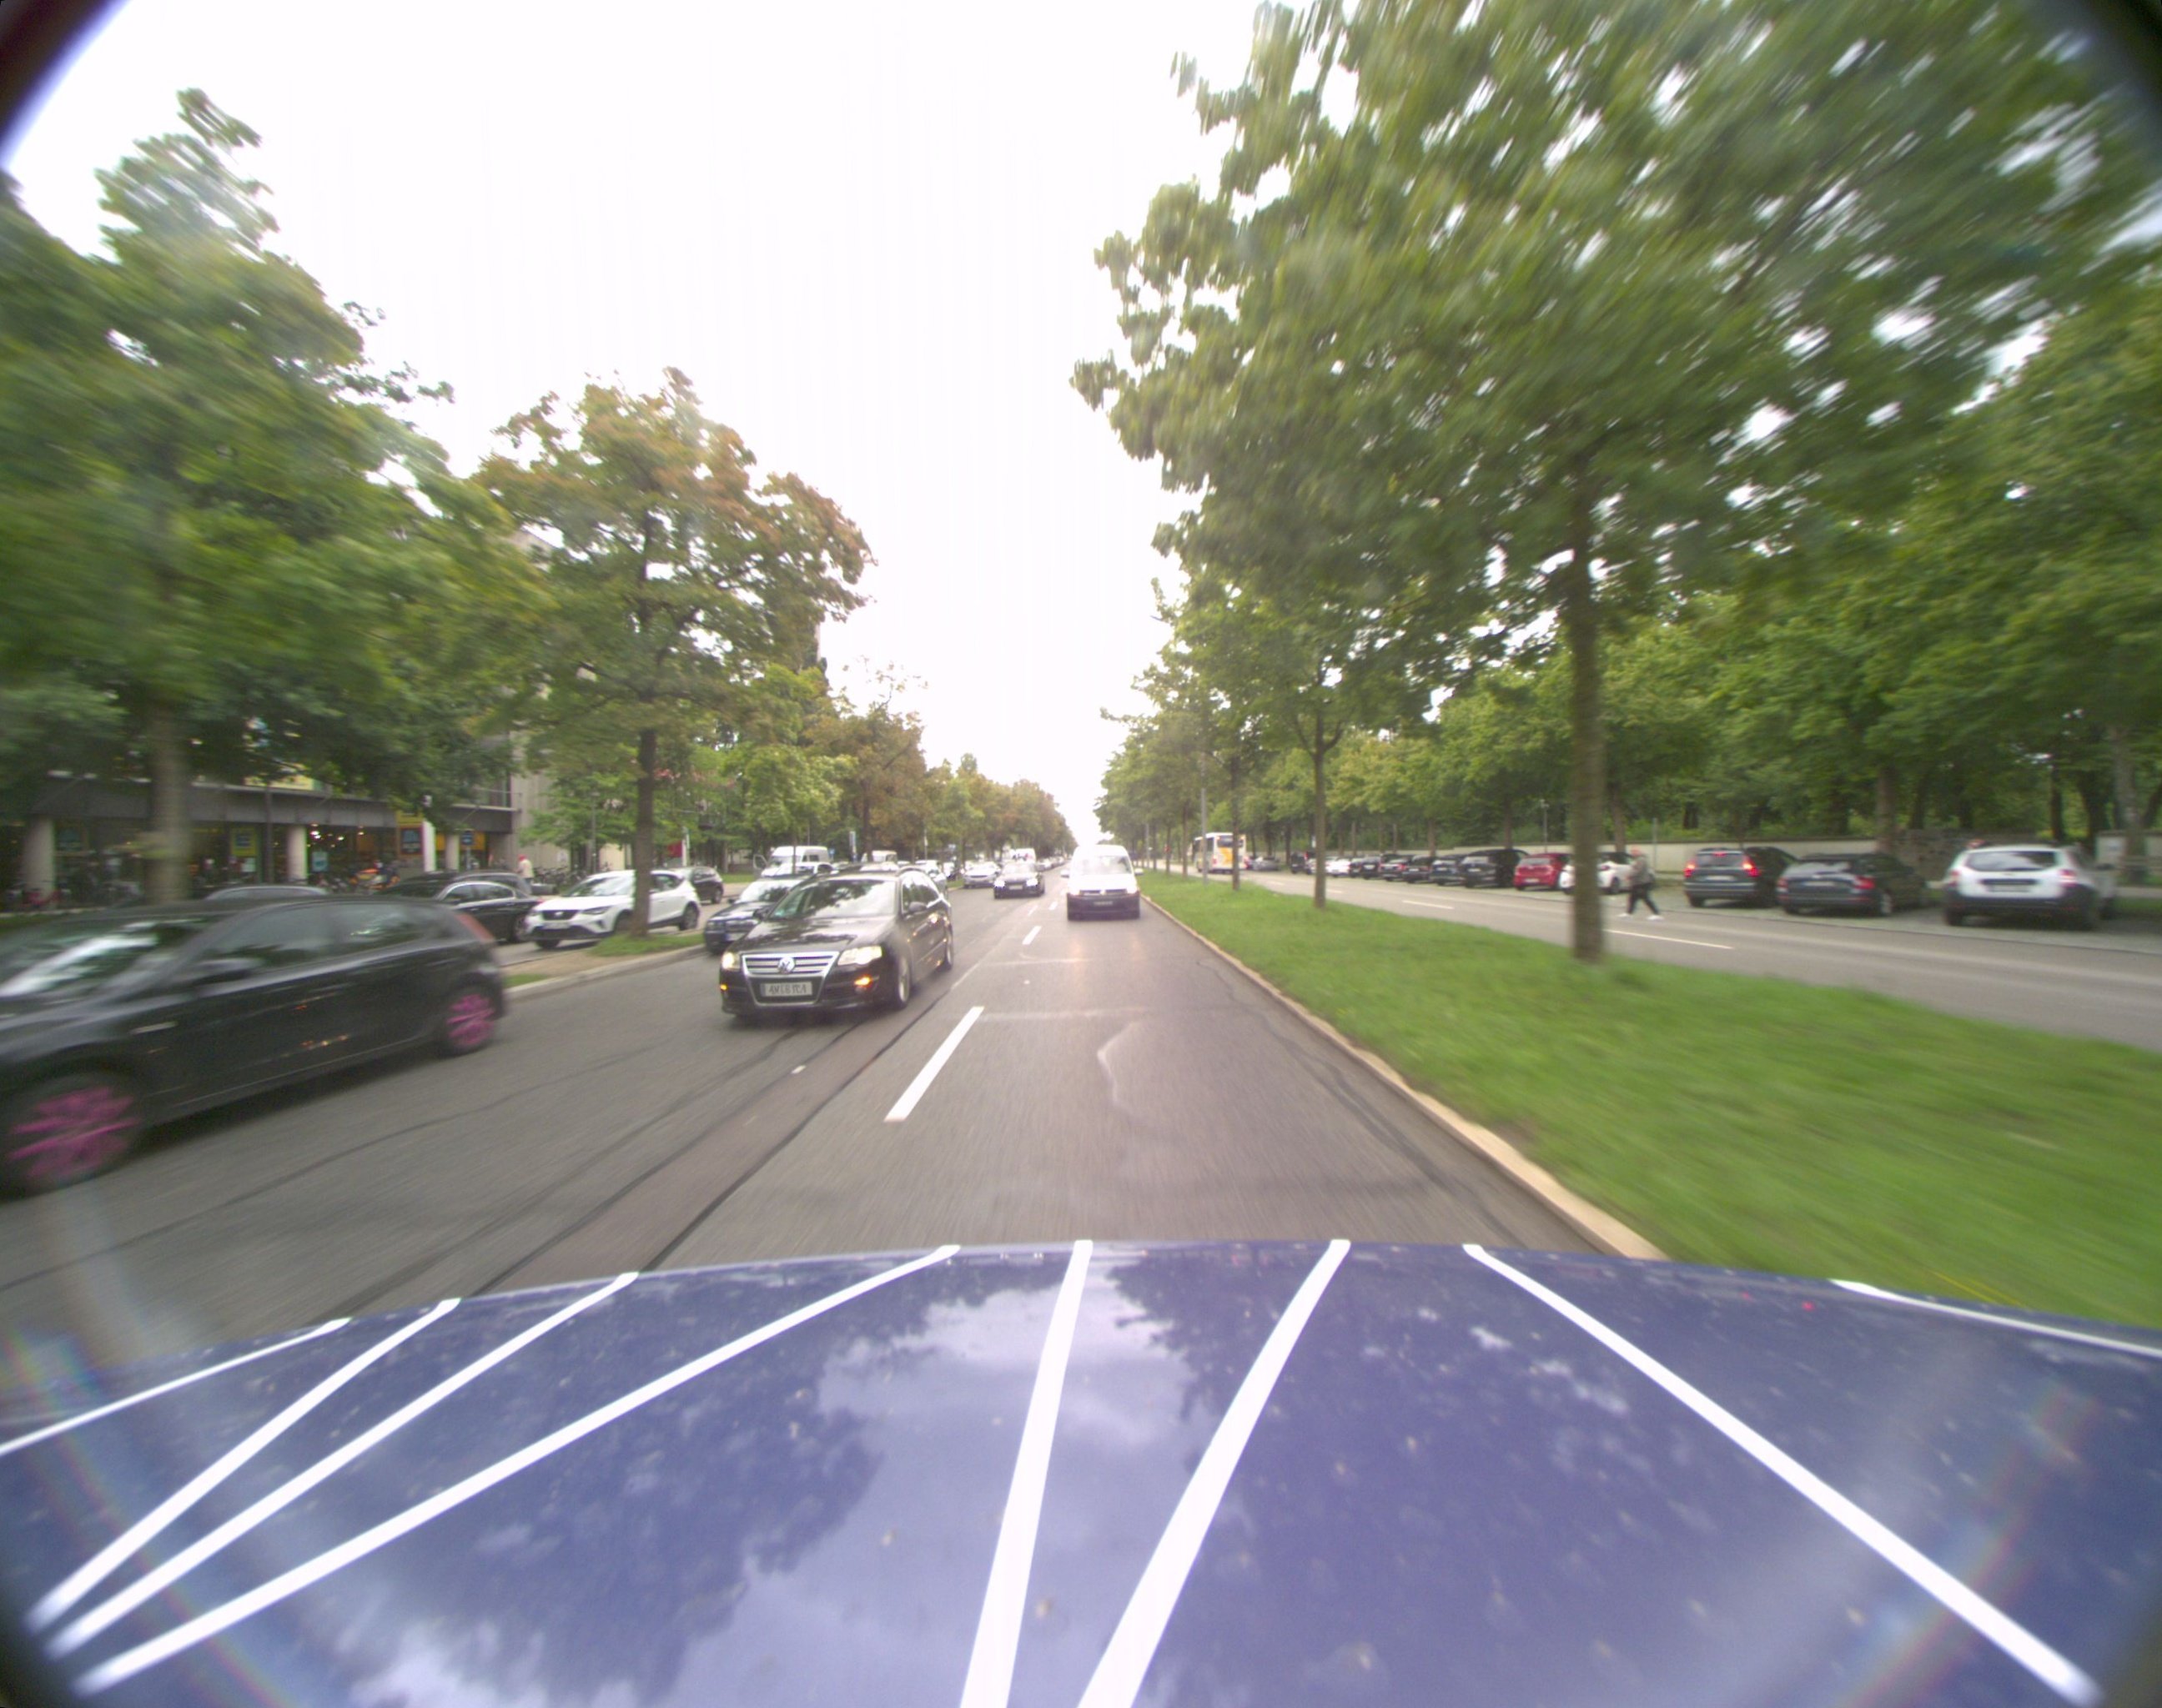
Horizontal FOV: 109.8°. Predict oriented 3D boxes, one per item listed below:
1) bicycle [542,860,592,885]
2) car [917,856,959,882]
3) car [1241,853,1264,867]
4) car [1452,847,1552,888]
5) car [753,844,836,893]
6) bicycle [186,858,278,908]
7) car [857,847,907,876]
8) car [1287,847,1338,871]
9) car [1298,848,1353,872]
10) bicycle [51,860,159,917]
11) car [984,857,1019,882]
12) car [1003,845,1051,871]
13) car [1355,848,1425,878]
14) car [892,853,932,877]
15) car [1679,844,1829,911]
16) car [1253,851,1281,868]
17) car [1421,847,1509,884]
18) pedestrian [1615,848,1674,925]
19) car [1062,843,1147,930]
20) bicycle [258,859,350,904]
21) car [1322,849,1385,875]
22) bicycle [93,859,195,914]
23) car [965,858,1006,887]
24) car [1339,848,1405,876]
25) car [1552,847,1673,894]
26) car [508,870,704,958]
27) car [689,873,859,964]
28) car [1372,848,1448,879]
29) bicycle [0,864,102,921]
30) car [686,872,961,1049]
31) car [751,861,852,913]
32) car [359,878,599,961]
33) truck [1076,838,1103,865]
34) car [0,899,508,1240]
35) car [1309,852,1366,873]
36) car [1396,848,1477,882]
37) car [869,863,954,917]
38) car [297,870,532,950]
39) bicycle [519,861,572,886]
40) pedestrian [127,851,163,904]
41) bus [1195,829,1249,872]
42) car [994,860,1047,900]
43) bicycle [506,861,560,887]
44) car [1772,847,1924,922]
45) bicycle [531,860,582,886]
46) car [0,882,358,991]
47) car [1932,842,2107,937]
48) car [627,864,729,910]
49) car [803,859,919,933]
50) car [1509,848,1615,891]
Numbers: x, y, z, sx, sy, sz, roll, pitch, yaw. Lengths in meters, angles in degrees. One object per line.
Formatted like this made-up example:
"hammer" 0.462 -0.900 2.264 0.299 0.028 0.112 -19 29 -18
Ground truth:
"bicycle" -28.194 1.010 41.687 2.313 1.294 0.649 -1 1 2
"car" -9.287 0.947 49.592 1.826 1.534 4.054 -3 0 1
"car" 17.847 0.598 79.079 1.741 1.363 4.169 -2 1 5
"car" 18.666 0.595 33.697 4.005 1.548 1.888 -3 0 -27
"car" -15.842 0.743 42.386 2.268 2.514 5.858 -1 0 1
"bicycle" -28.446 0.958 25.475 2.313 1.613 0.649 -1 1 1
"car" -15.525 0.553 59.743 2.268 2.091 5.858 -1 0 1
"car" 18.847 0.394 61.740 4.006 1.718 1.777 -3 1 -33
"car" 18.888 0.467 58.665 4.006 1.632 1.887 -3 1 -33
"bicycle" -28.783 1.012 22.421 2.313 1.613 0.649 -1 1 1
"car" -5.122 0.991 49.267 1.735 1.424 4.442 -3 0 0
"car" -6.044 0.442 85.605 1.974 2.642 6.017 -2 0 34
"car" 18.856 0.548 46.321 4.006 1.548 1.887 -3 0 -31
"car" -15.420 0.978 69.666 2.268 2.091 5.858 -1 0 1
"car" 18.928 0.619 21.355 4.005 1.577 1.798 -3 0 -28
"car" 17.816 0.530 72.924 1.889 1.435 4.169 -2 1 5
"car" 18.573 0.565 36.736 4.006 1.548 1.887 -3 0 -31
"pedestrian" 12.708 0.714 17.176 0.872 1.689 0.771 0 2 21
"car" 0.506 0.703 18.748 1.750 1.807 4.667 -3 0 0
"bicycle" -28.841 1.006 28.236 2.316 1.613 0.648 -1 1 -16
"car" 18.594 0.555 51.865 4.006 1.548 1.887 -3 0 -31
"bicycle" -28.744 0.982 23.323 2.313 1.613 0.649 -1 1 1
"car" -5.407 1.017 43.383 1.735 1.498 4.442 -3 0 0
"car" 18.903 0.510 49.393 4.006 1.548 1.887 -3 0 -31
"car" 19.334 0.581 27.649 4.005 1.455 1.888 -3 0 -27
"car" -9.984 1.182 16.361 1.654 1.510 3.877 -3 0 1
"car" -5.870 1.161 15.087 1.686 1.367 4.081 -3 0 0
"car" 18.571 0.531 42.850 4.006 1.548 1.887 -3 0 -31
"bicycle" -28.977 1.063 21.247 2.313 1.523 0.649 -1 1 1
"car" -2.691 1.022 9.136 1.735 1.424 4.442 -3 0 0
"car" -9.952 1.101 27.488 1.826 1.581 4.875 -3 0 0
"car" -13.067 1.339 16.930 1.726 1.371 4.352 -2 0 2
"truck" 1.126 -0.297 94.706 3.046 3.170 9.133 -2 0 2
"car" -6.112 1.177 4.936 1.701 1.440 4.041 -3 0 -1
"car" 18.616 0.616 55.125 4.006 1.358 1.588 -2 1 -29
"car" 18.703 0.583 39.920 4.006 1.548 1.887 -3 0 -31
"car" -5.668 1.139 26.033 1.686 1.513 4.465 -4 0 2
"car" -16.153 1.275 18.821 1.826 1.624 4.500 0 0 0
"bicycle" -28.220 1.029 40.065 2.313 1.294 0.676 -1 1 2
"pedestrian" -32.862 0.815 26.691 0.665 1.794 0.731 2 1 34
"bus" 11.863 -0.353 64.983 2.676 3.279 11.926 1 1 2
"car" -2.438 1.020 31.524 1.763 1.405 4.462 -3 0 0
"bicycle" -28.239 1.038 39.151 2.313 1.294 0.649 -1 1 2
"car" 18.576 0.688 18.356 4.006 1.477 1.797 -3 0 -34
"bicycle" -28.218 1.021 40.913 2.313 1.294 0.649 -1 1 2
"car" -16.171 1.333 13.822 1.827 1.522 4.601 0 -1 -3
"car" 19.042 0.616 15.378 4.331 1.564 1.797 -2 1 -33
"car" -15.833 1.246 30.135 1.865 1.624 4.340 0 0 -3
"car" -5.805 1.029 20.623 1.686 1.632 4.465 -4 0 1
"car" 19.433 0.617 30.698 4.005 1.446 1.737 -3 0 -27
